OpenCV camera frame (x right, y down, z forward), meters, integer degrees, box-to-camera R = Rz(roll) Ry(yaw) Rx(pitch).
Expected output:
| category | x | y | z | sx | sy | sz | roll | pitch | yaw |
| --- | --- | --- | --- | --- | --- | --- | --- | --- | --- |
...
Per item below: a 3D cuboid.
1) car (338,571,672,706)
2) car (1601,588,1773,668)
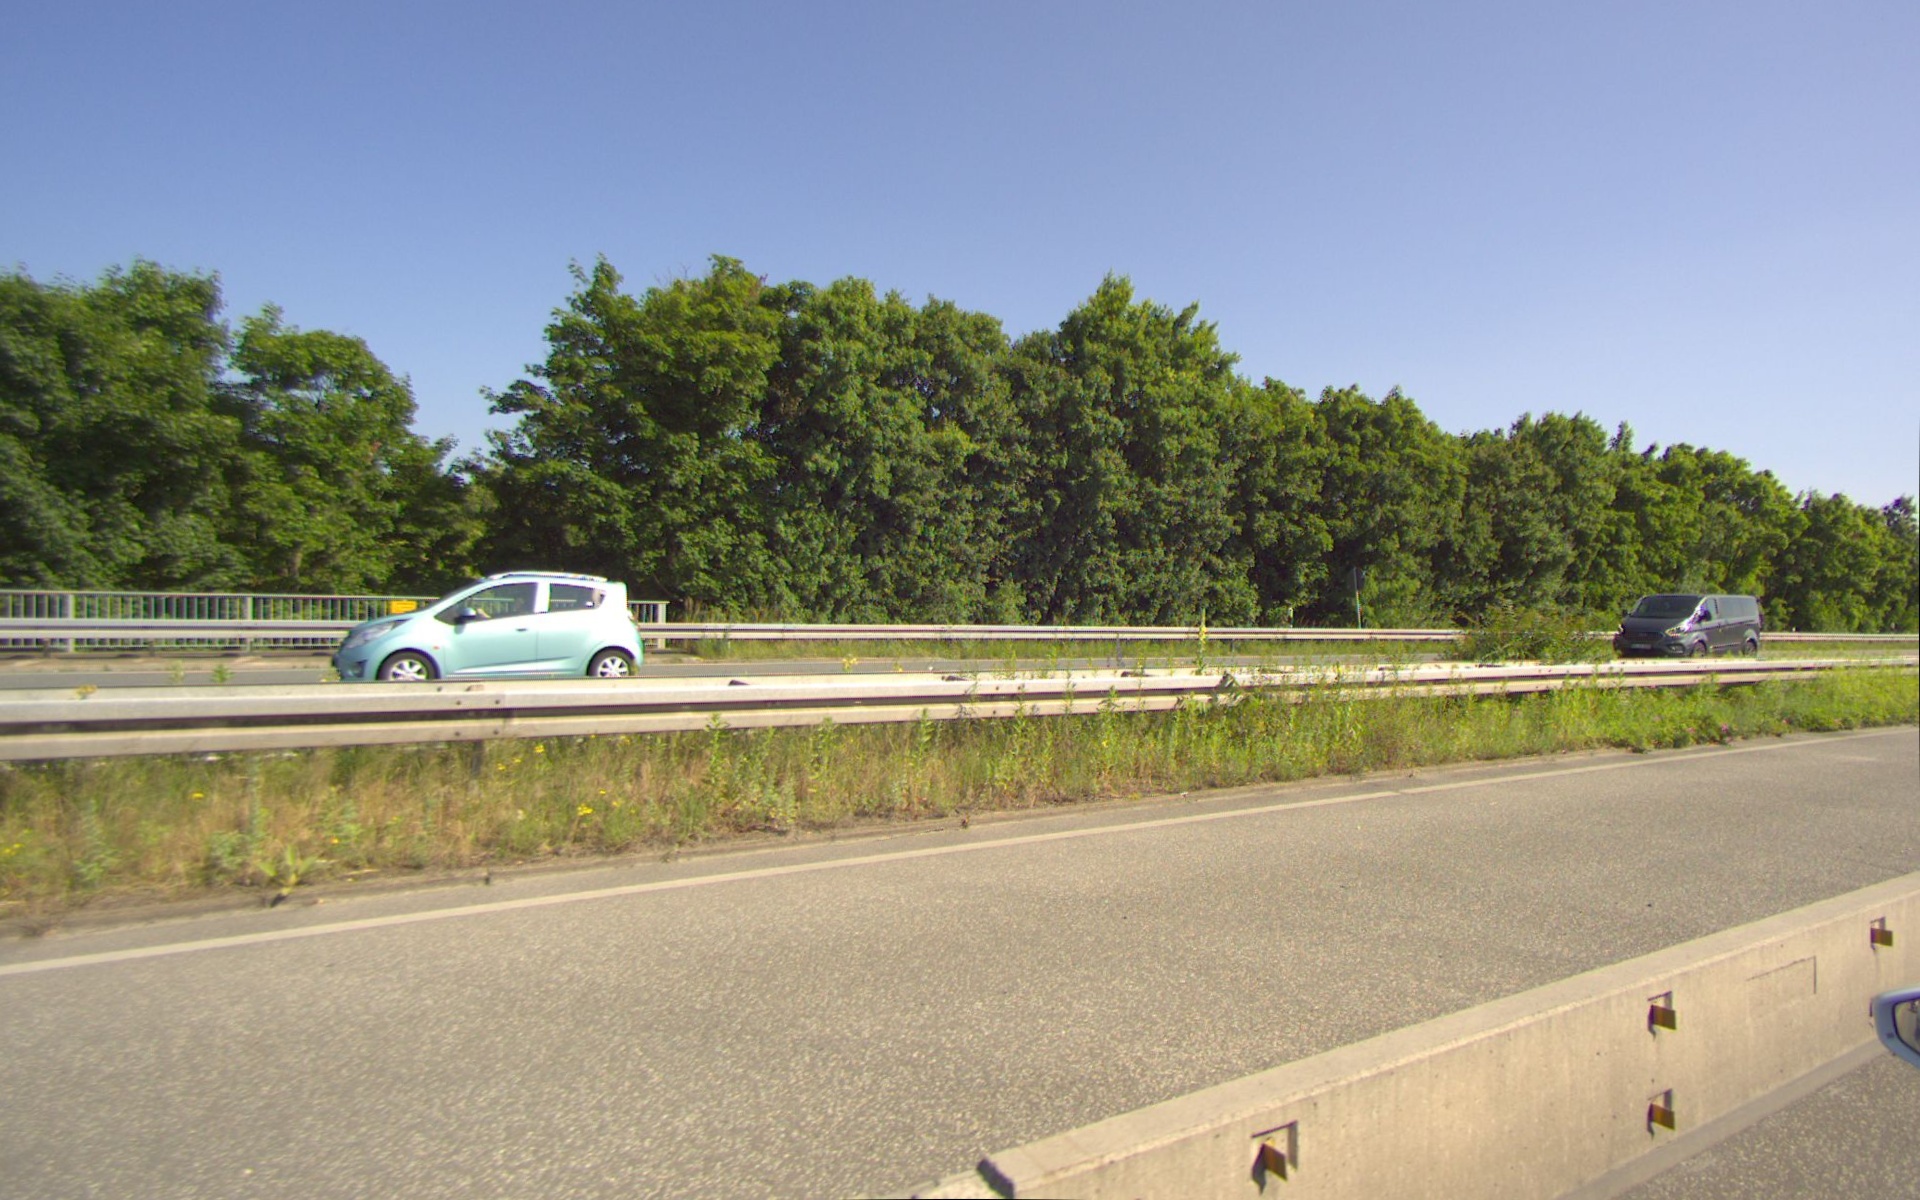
| category | x | y | z | sx | sy | sz | roll | pitch | yaw |
| --- | --- | --- | --- | --- | --- | --- | --- | --- | --- |
| car | -5.880 | 0.452 | 13.151 | 3.774 | 1.551 | 1.638 | 1 | 1 | -31 |
| car | 20.471 | 0.758 | 28.241 | 5.106 | 2.062 | 1.984 | 1 | 0 | -30 |
